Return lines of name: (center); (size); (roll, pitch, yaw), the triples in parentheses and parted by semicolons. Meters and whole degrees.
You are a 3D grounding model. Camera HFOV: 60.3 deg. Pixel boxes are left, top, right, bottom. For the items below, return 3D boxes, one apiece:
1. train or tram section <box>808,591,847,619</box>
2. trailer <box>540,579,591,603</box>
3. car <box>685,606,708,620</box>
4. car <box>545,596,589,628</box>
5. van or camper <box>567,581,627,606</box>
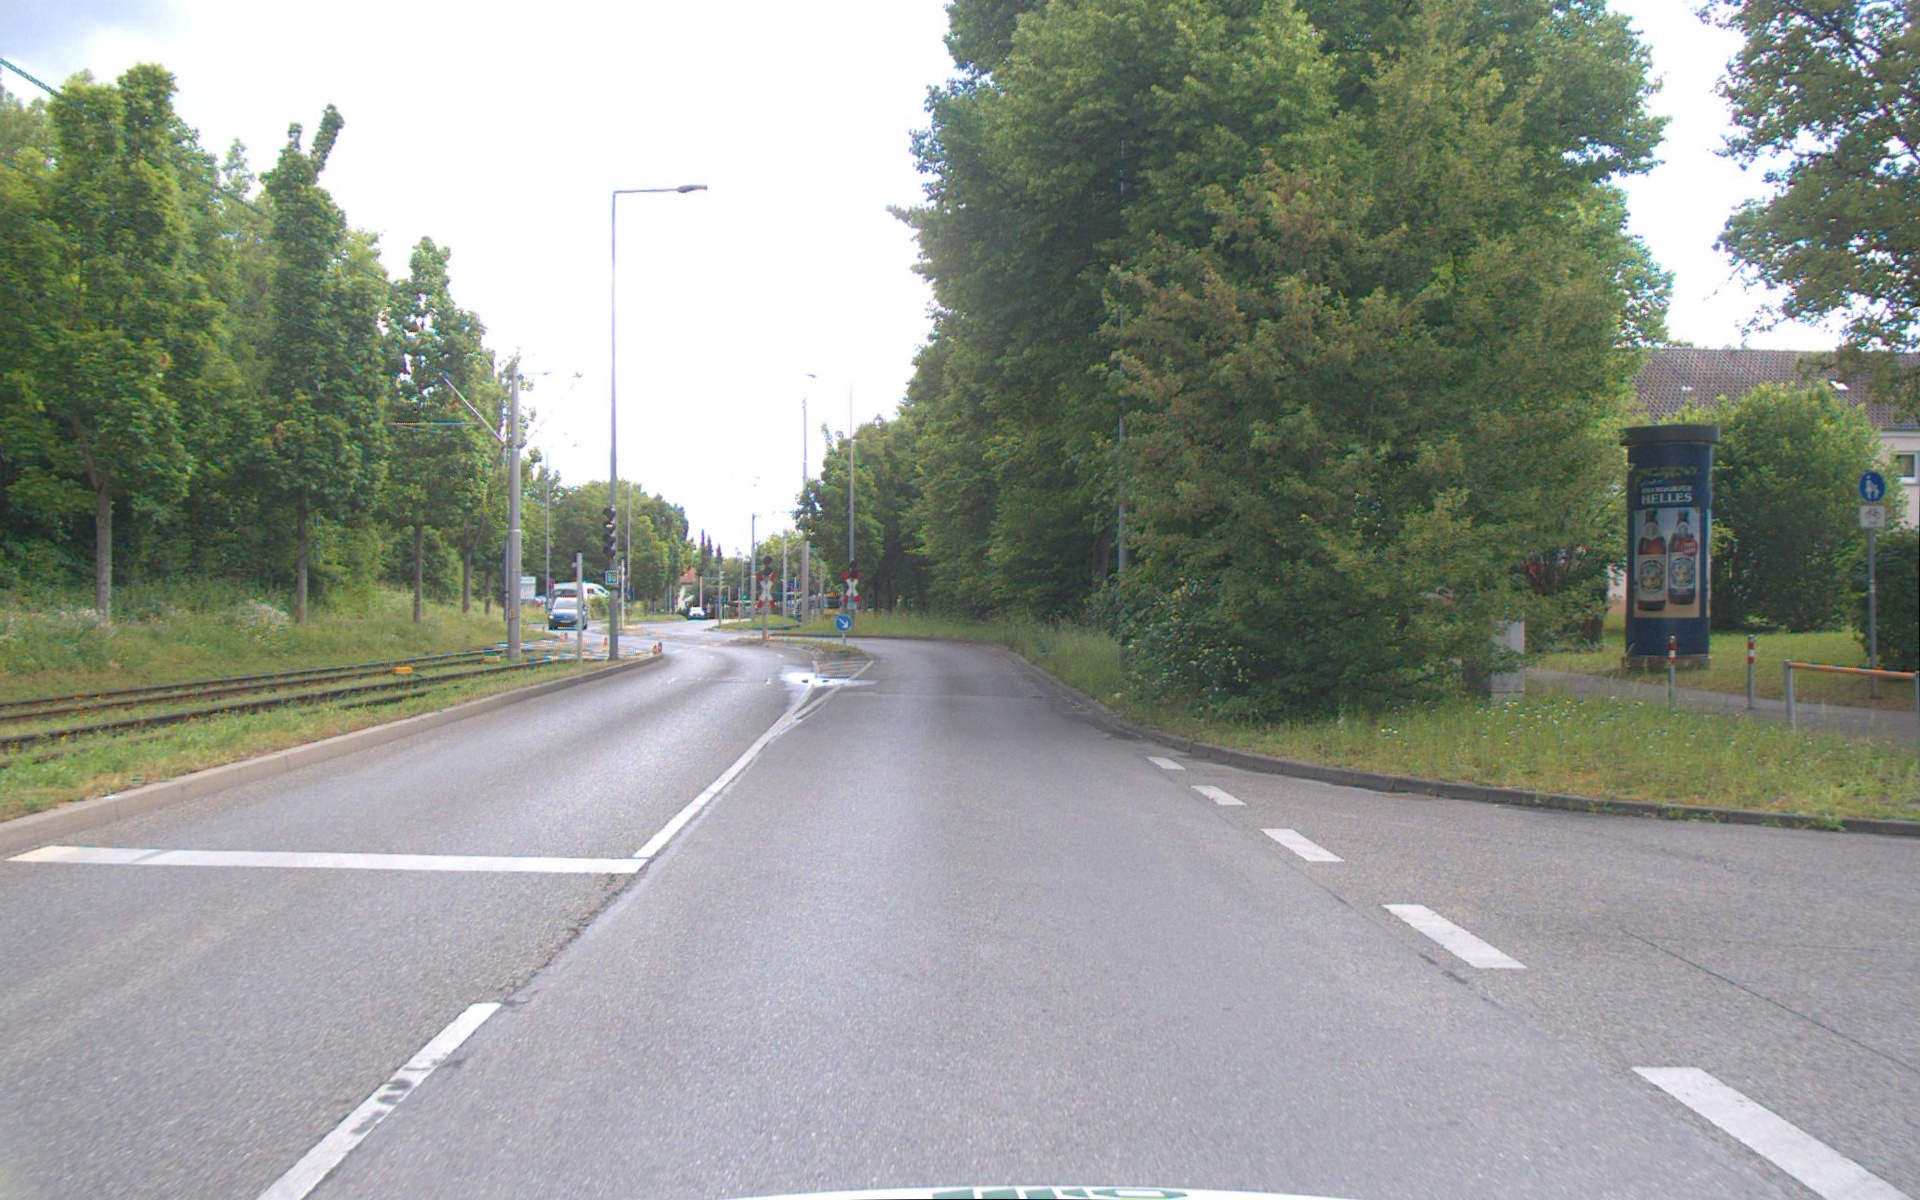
train or tram section: (-17.591, 0.670, 217.147); (2.951, 3.369, 34.647); (1, 0, -8)
trailer: (-33.796, -0.756, 141.707); (3.907, 2.049, 1.907); (1, 0, -3)
car: (-30.605, 1.516, 192.309); (1.953, 1.463, 4.425); (-1, 0, -1)
car: (-20.387, 0.623, 85.904); (1.832, 1.547, 4.231); (1, 1, -8)
van or camper: (-34.267, -0.594, 156.136); (5.229, 2.241, 1.998); (1, 0, -6)
